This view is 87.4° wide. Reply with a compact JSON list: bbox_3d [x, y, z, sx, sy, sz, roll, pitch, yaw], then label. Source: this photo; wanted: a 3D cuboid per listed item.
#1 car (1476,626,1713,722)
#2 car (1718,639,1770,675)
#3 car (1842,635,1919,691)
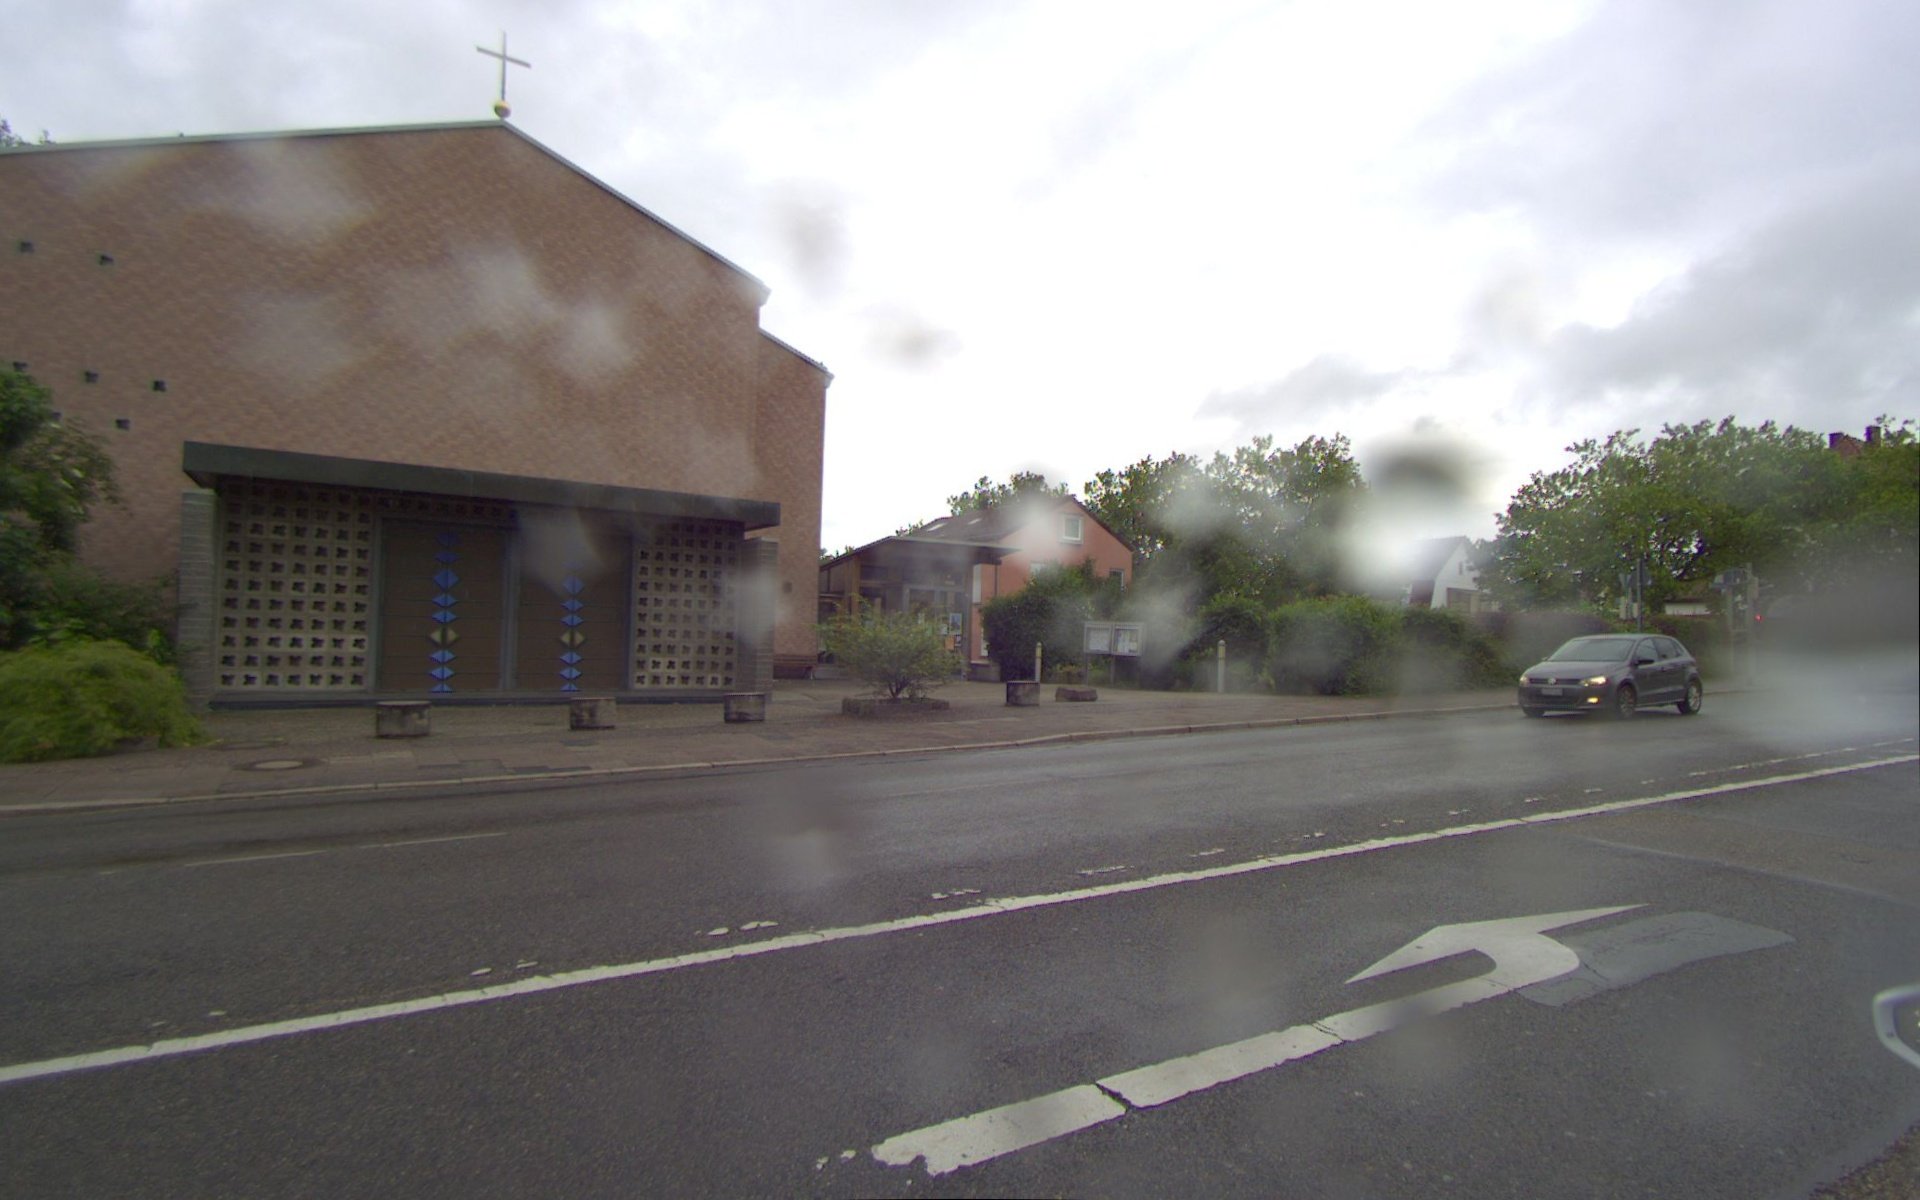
[{"bbox_3d":[11.399,1.243,18.021,3.906,1.530,1.985,1,-1,-29],"label":"car"},{"bbox_3d":[38.589,2.763,49.466,1.969,1.572,3.983,0,-1,38],"label":"car"},{"bbox_3d":[24.646,1.577,25.802,3.952,1.305,1.834,1,-1,-30],"label":"car"}]
